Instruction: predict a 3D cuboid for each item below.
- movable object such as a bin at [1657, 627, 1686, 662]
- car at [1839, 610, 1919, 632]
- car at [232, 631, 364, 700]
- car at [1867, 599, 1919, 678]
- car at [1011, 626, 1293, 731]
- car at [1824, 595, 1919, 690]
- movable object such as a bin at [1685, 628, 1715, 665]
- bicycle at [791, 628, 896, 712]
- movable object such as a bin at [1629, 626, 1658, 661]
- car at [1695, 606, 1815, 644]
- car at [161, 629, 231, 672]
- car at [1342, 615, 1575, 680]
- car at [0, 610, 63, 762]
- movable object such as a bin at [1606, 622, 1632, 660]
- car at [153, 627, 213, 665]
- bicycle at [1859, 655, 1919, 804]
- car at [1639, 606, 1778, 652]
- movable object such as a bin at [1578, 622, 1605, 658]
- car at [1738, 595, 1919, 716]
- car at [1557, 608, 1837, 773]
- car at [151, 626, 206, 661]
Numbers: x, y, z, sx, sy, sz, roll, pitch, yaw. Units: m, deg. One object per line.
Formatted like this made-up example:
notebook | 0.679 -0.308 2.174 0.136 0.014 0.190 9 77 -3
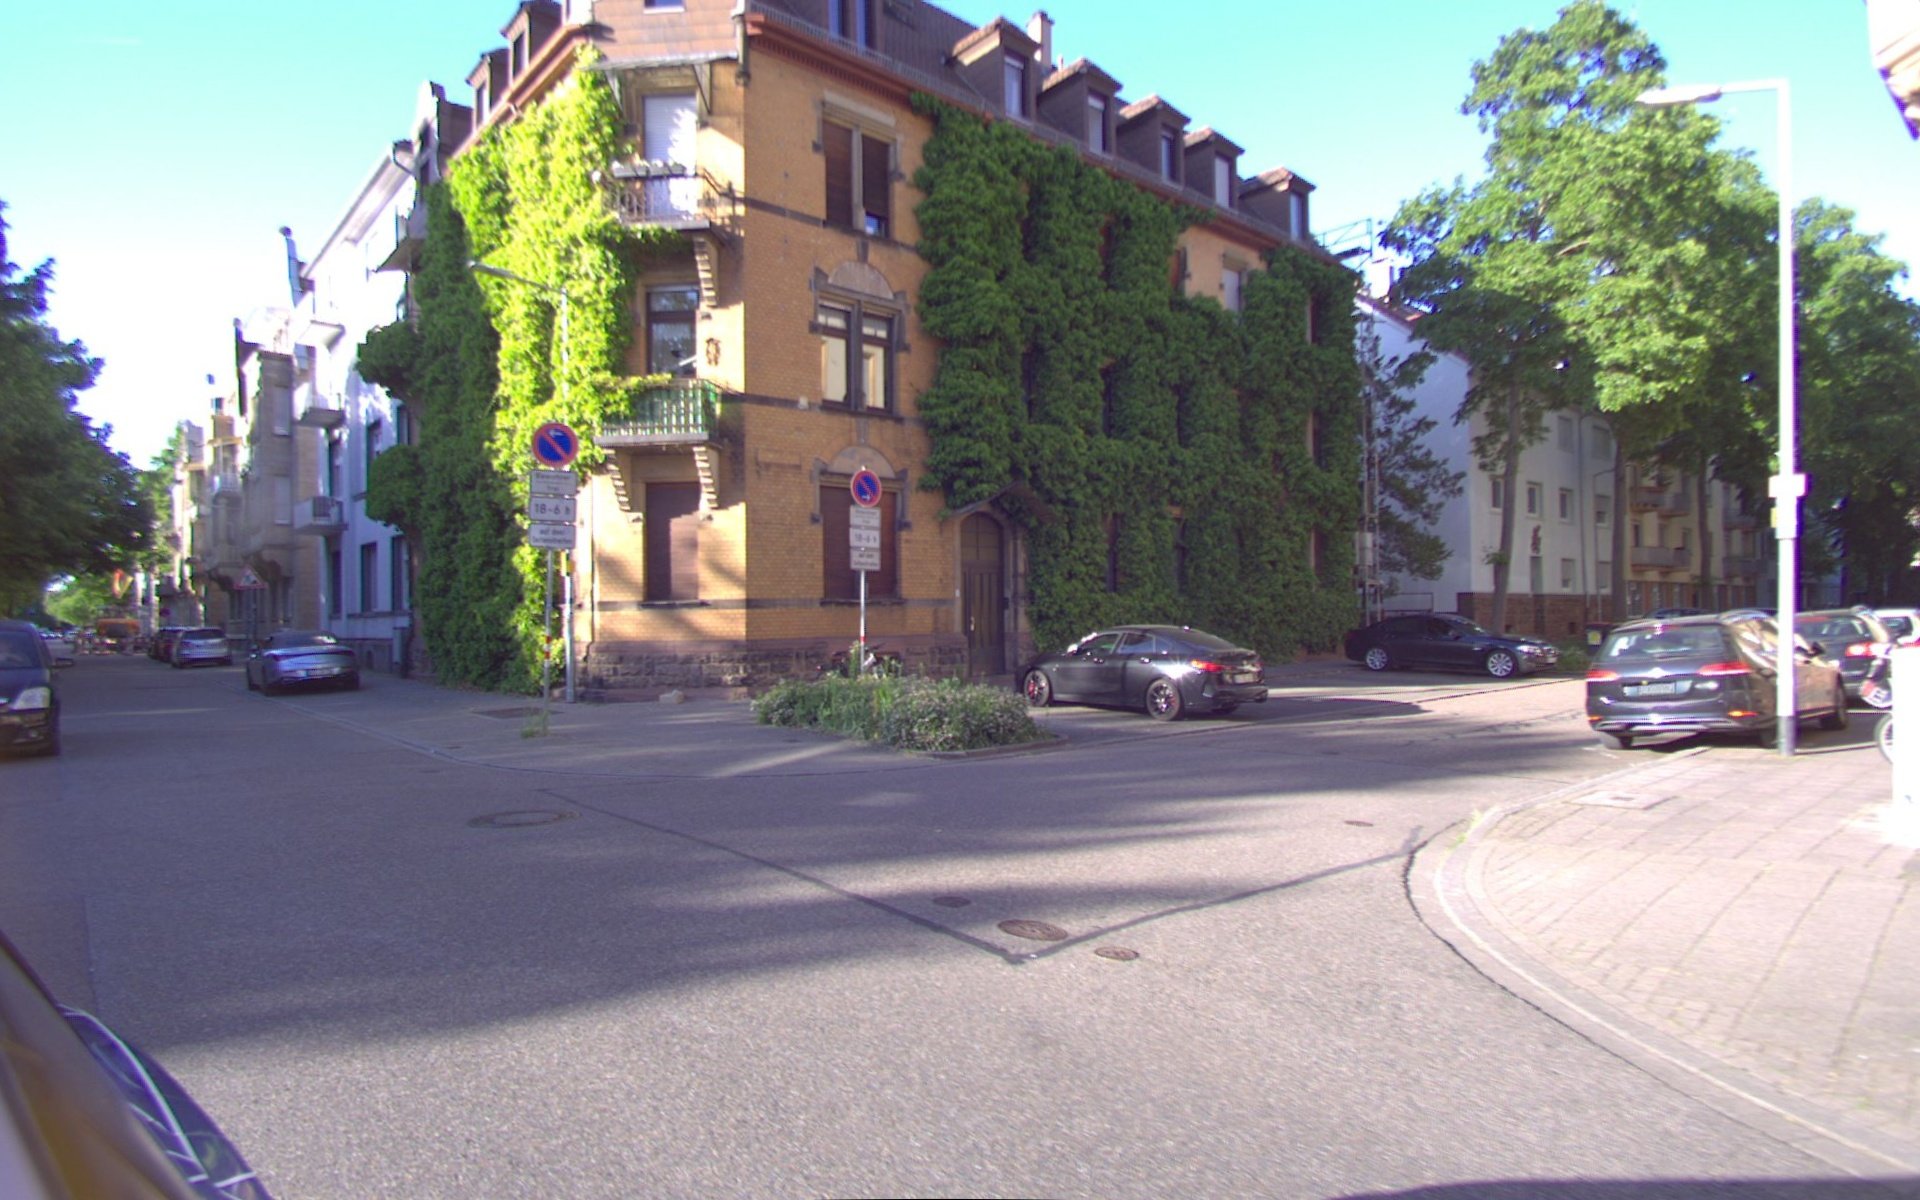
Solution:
movable object such as a bin | 21.536 1.338 30.638 0.631 1.061 0.560 -1 -2 44
car | 54.303 1.228 59.452 1.684 1.249 3.819 1 -1 -42
car | -15.881 1.503 24.157 1.854 1.415 4.931 -1 -1 -43
car | 20.936 0.799 21.668 3.937 1.593 1.746 1 -1 -40
car | 3.025 1.181 16.663 1.969 1.446 4.263 1 -1 -41
car | 17.455 0.742 18.625 3.937 1.593 1.746 1 -1 -40
movable object such as a bin | 22.009 1.378 30.108 0.631 1.061 0.560 -1 -2 44
bicycle | -1.865 1.105 16.258 1.576 1.278 0.566 0 -3 -33
movable object such as a bin | 21.014 1.341 31.119 0.631 1.061 0.560 -1 -2 44
car | 33.969 1.051 43.307 1.684 1.587 3.819 1 -1 -42
car | -30.245 1.963 40.029 1.840 1.558 3.797 1 -1 -43
car | 12.098 1.096 24.854 1.683 1.446 4.857 1 -1 -41
car | -11.835 0.996 12.047 1.625 1.602 4.023 -1 -1 -43
movable object such as a bin | 20.586 1.278 31.630 0.600 1.162 0.479 -1 -2 44
car | -35.764 2.066 46.555 1.969 1.637 4.150 1 -1 -41
bicycle | 7.325 0.955 7.770 0.515 1.005 1.556 -1 -1 38
car | 27.029 1.019 36.609 1.684 1.587 3.817 1 -1 -43
movable object such as a bin | 20.048 1.272 32.127 0.636 1.134 0.479 -1 -2 44
car | 13.370 0.766 15.303 3.937 1.593 1.746 1 -1 -40
car | 8.623 0.913 11.732 3.937 1.593 1.746 1 -1 -40
car | -39.517 2.164 51.168 1.969 1.637 4.150 1 -1 -41
